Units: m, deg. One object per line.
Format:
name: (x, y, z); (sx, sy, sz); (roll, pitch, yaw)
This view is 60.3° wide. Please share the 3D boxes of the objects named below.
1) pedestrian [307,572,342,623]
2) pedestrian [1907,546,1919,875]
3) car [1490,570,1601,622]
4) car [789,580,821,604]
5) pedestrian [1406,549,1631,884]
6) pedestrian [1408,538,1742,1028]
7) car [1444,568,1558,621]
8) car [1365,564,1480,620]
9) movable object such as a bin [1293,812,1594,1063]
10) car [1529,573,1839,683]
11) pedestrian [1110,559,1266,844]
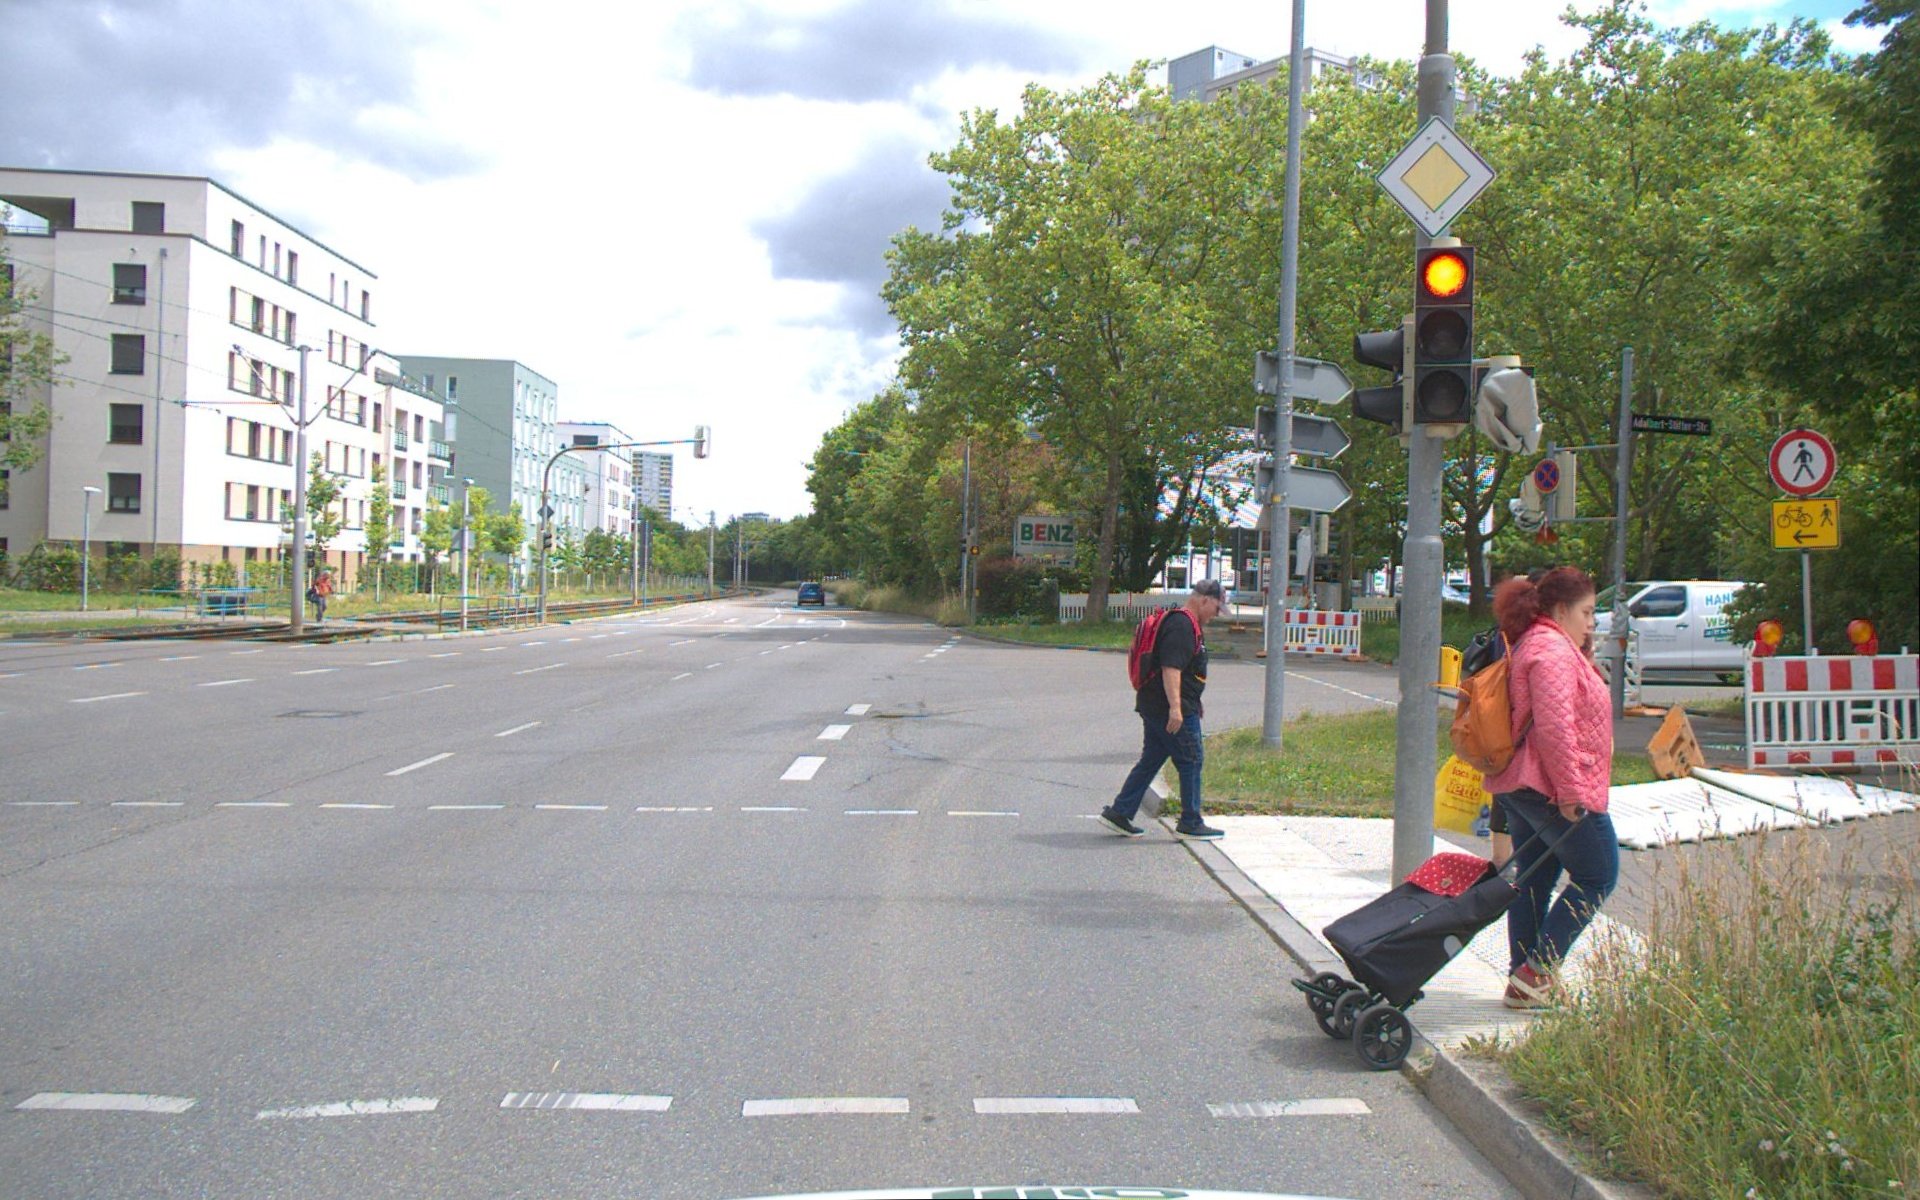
pedestrian: (-19.480, -0.074, 50.685); (0.814, 1.542, 0.636); (1, 0, -1)
pedestrian: (5.773, 0.617, 8.742); (0.982, 1.804, 0.929); (1, 0, -1)
car: (23.934, -0.178, 67.704); (1.974, 2.049, 3.957); (0, 1, -32)
car: (-9.888, -0.515, 105.301); (1.944, 1.512, 4.485); (1, 1, -6)
pedestrian: (2.884, 0.568, 8.640); (0.893, 1.635, 0.930); (1, 0, 4)
pedestrian: (2.098, 0.591, 5.742); (0.863, 1.582, 0.746); (1, 0, -1)
car: (21.368, -0.230, 65.466); (1.974, 2.049, 3.957); (0, 1, -32)
car: (17.524, -0.310, 62.831); (1.974, 2.049, 3.957); (0, 1, -32)
movable object such as a bin: (1.594, 1.108, 5.571); (0.779, 0.673, 0.778); (1, 0, -1)
car: (13.441, 0.503, 30.863); (4.976, 1.906, 1.947); (1, 0, -5)
pedestrian: (1.390, 0.573, 9.996); (0.873, 1.624, 0.909); (1, 0, 10)
